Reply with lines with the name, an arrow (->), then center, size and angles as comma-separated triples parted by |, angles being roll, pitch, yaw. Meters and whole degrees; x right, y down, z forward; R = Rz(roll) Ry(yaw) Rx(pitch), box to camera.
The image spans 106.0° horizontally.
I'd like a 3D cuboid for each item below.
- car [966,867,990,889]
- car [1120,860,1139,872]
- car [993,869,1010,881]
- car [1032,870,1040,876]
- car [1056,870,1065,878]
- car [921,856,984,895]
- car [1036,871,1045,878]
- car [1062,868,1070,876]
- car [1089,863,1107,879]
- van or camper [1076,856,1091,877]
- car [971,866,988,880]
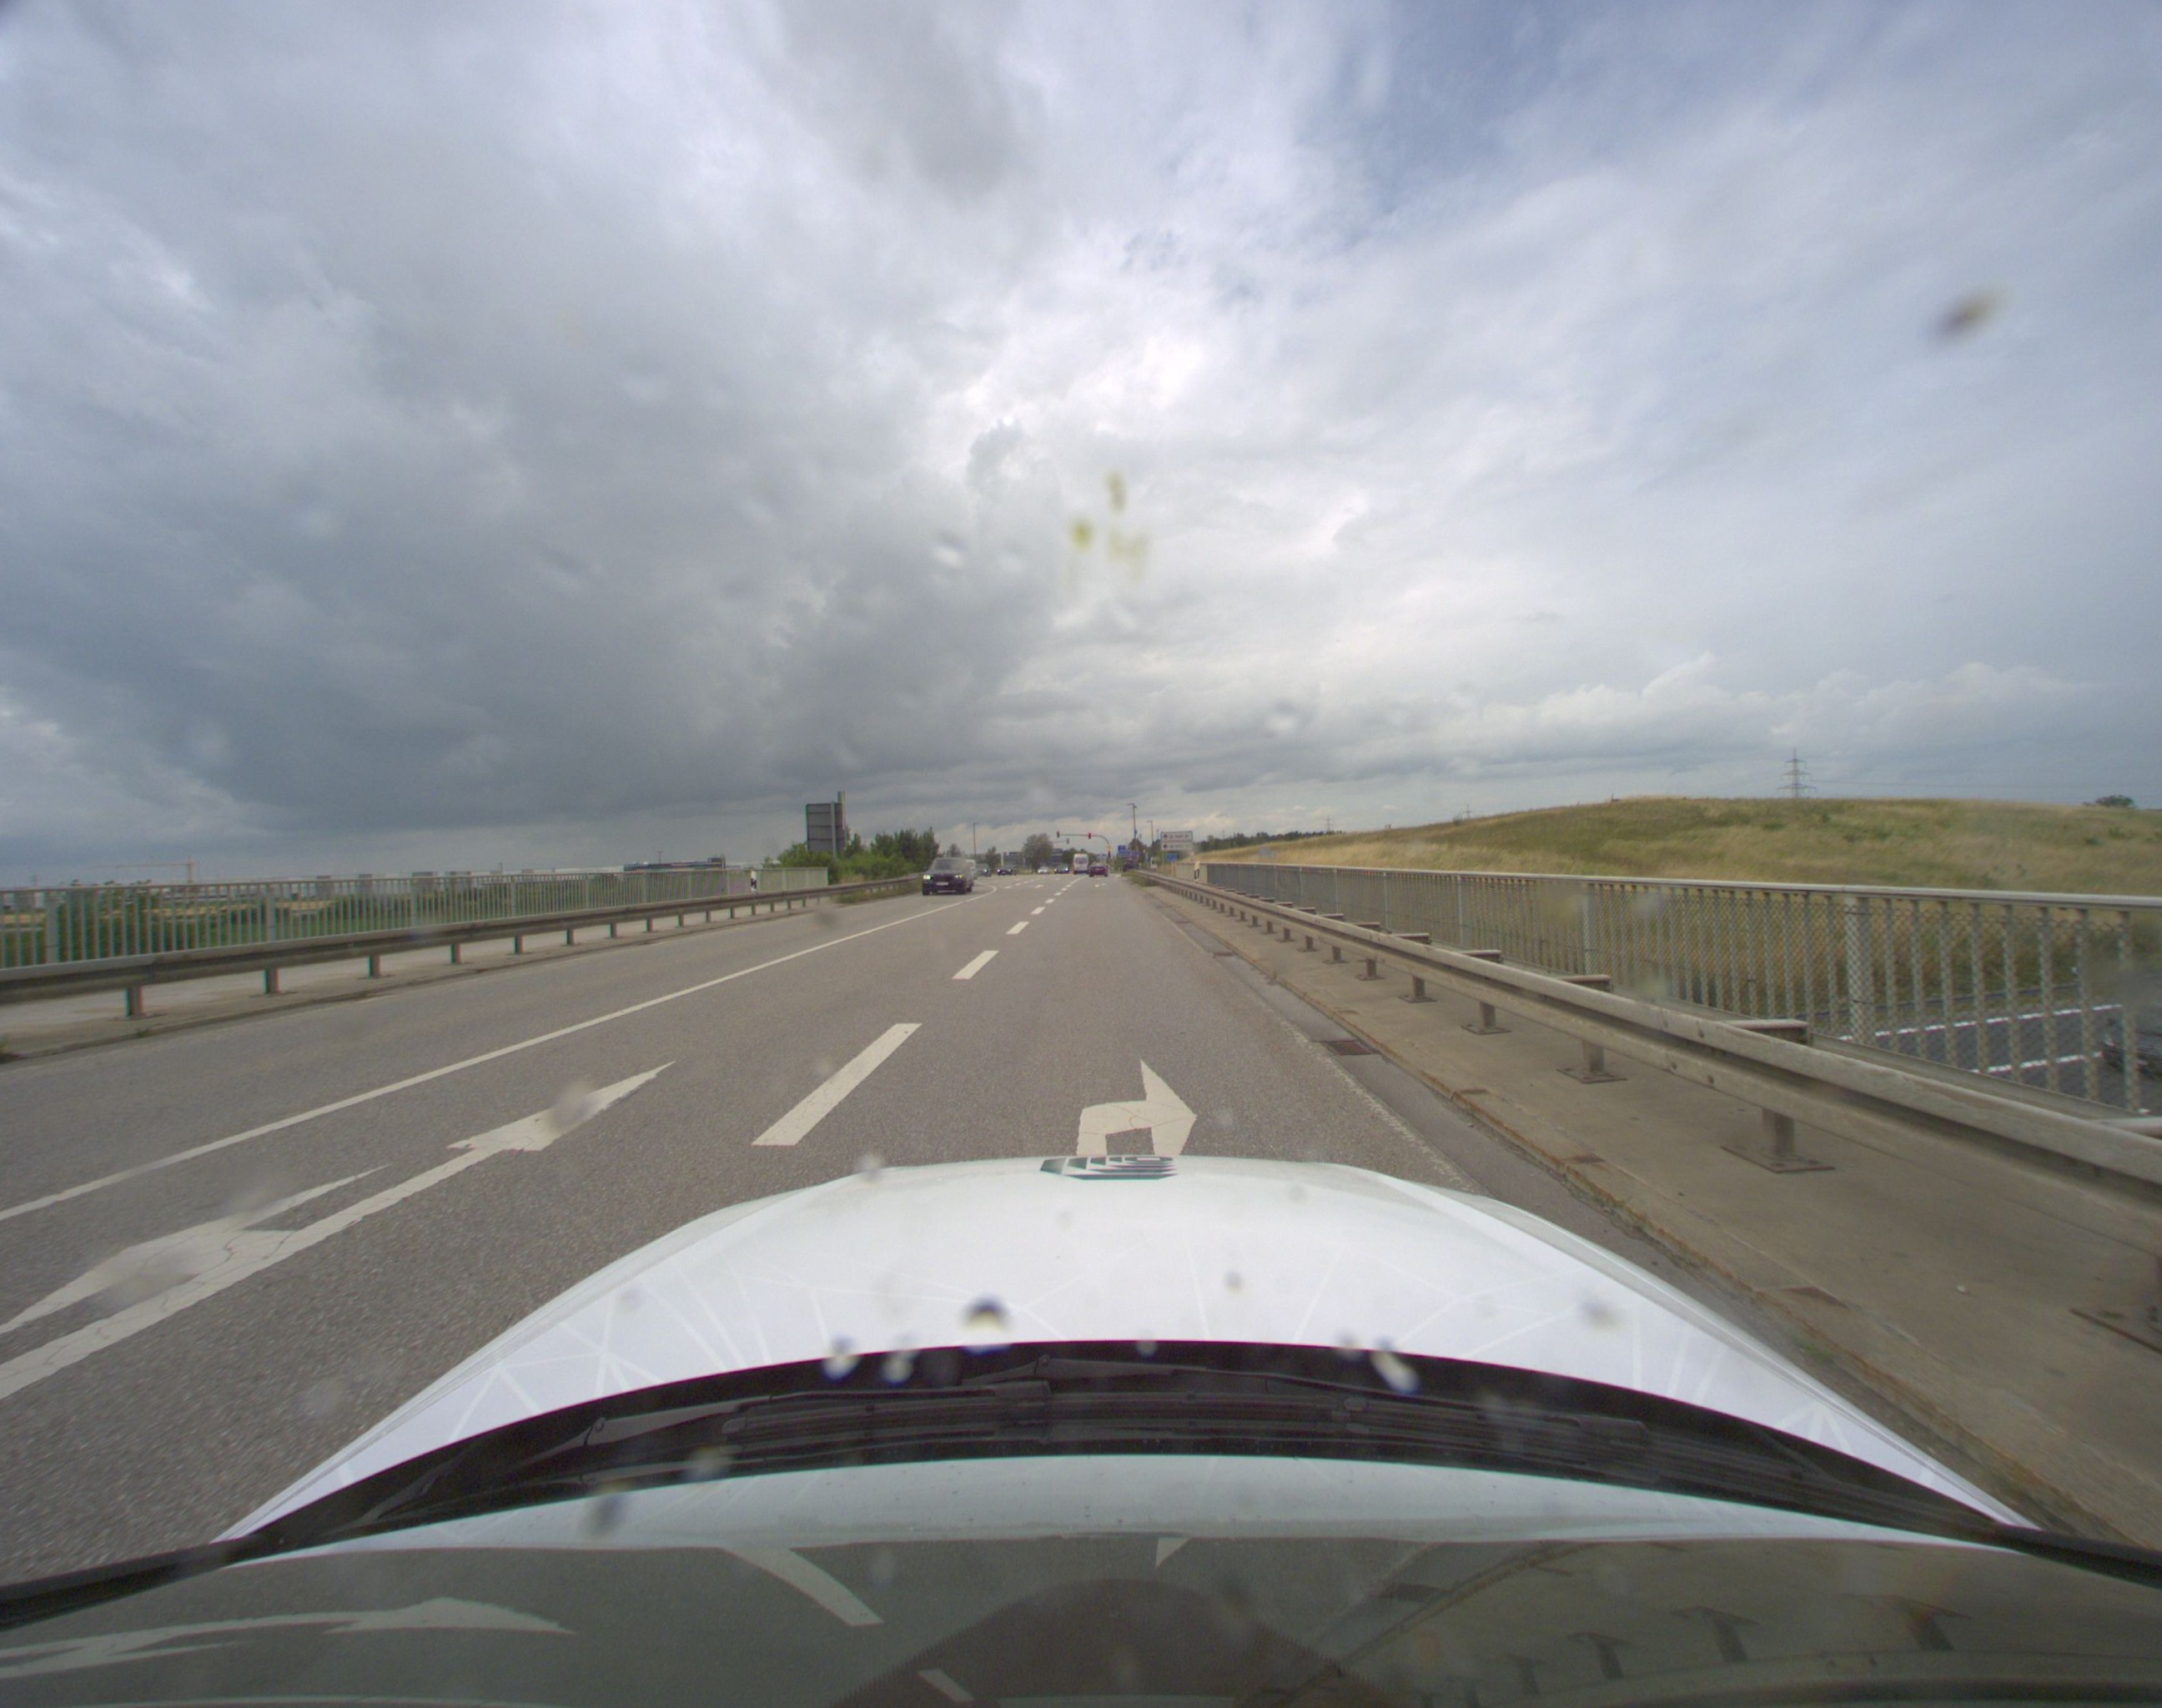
car -> -9.163, 2.115, 72.784 | 1.950, 1.875, 4.811 | 0, -1, -5
car -> 6.462, 1.572, 108.530 | 1.669, 1.544, 3.630 | -2, -1, 16
car -> -10.573, 2.806, 108.991 | 1.803, 1.368, 4.784 | -2, 0, -1
car -> -9.492, 3.983, 172.415 | 1.475, 1.282, 3.535 | -2, -1, 2
car -> -4.038, 3.930, 159.152 | 1.688, 1.368, 3.943 | -1, 2, -1
car -> -6.042, 1.010, 38.955 | 1.985, 1.732, 4.765 | -1, -1, 3
car -> -8.162, 4.084, 164.750 | 1.475, 1.282, 3.535 | -2, -1, 2
car -> -3.123, 3.696, 168.503 | 1.688, 1.368, 3.943 | -1, 2, -1
car -> 1.620, 1.599, 77.827 | 1.511, 1.485, 3.619 | -2, -1, 4
van or camper -> 0.339, 1.640, 105.166 | 1.869, 2.581, 4.001 | 0, -1, 1
car -> -11.536, 2.124, 92.424 | 1.579, 1.557, 4.141 | -1, -1, -3
